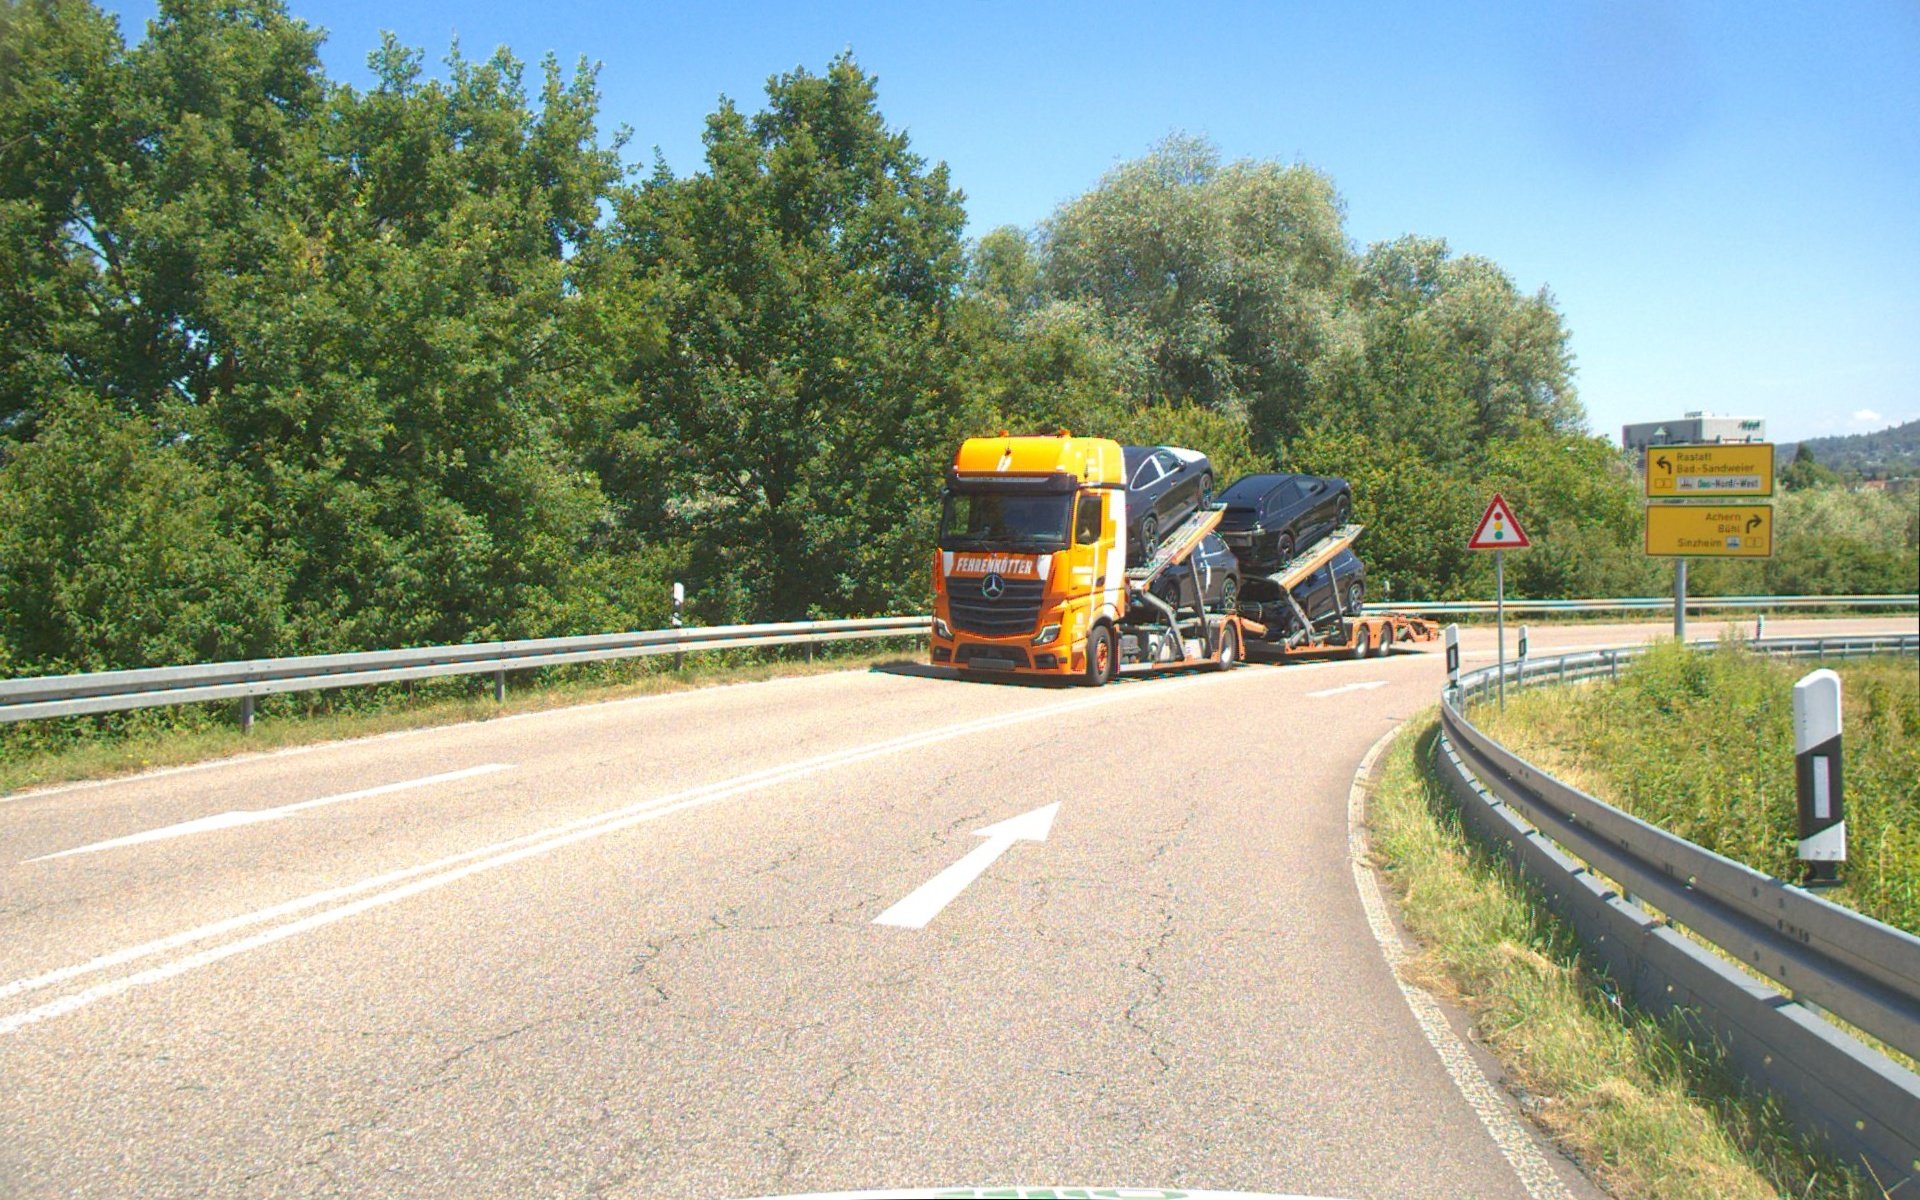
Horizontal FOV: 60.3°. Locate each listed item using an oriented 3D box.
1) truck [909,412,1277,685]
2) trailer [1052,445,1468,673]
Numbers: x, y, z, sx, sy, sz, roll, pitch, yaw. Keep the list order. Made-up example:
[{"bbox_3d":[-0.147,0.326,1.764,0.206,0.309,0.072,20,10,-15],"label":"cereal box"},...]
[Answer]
[{"bbox_3d":[2.640,-0.788,28.531,2.738,3.966,8.762,2,1,30],"label":"truck"},{"bbox_3d":[6.983,-0.708,35.168,2.747,3.966,13.929,2,1,36],"label":"trailer"}]
